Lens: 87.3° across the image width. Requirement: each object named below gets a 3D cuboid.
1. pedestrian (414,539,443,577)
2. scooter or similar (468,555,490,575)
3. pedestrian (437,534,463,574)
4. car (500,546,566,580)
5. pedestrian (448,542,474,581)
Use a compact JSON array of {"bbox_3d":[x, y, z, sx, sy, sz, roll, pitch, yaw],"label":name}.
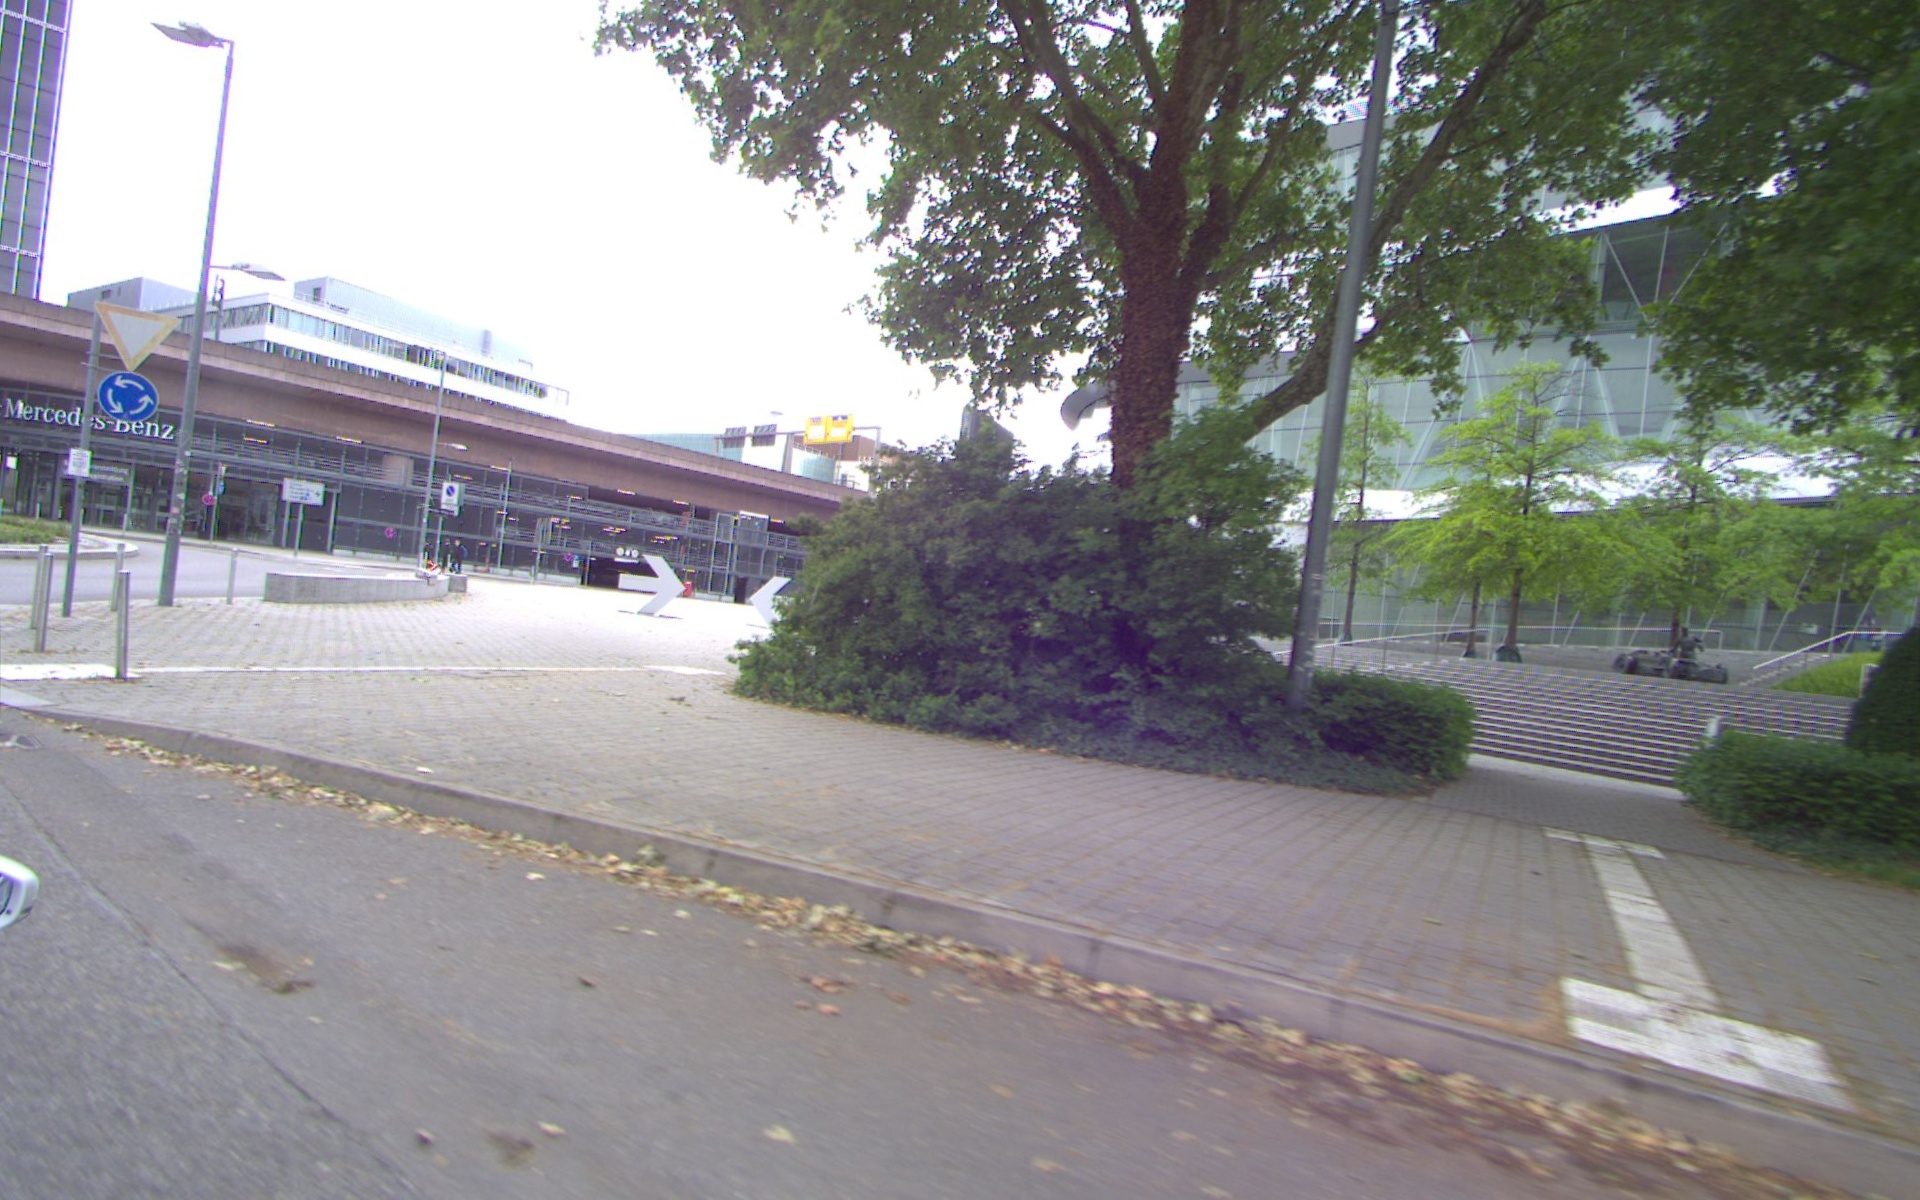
[{"bbox_3d":[-24.213,-1.931,45.822,0.680,1.589,0.831,6,-1,38],"label":"pedestrian"},{"bbox_3d":[-33.661,-2.449,70.368,0.351,1.208,1.228,6,-1,44],"label":"scooter or similar"},{"bbox_3d":[-23.874,-2.140,47.073,0.825,1.761,0.684,7,-1,-33],"label":"pedestrian"},{"bbox_3d":[-32.145,-2.791,75.827,3.977,1.926,1.975,8,-1,-45],"label":"car"},{"bbox_3d":[-23.721,-1.827,47.801,0.827,1.761,0.683,7,-1,-37],"label":"pedestrian"}]
